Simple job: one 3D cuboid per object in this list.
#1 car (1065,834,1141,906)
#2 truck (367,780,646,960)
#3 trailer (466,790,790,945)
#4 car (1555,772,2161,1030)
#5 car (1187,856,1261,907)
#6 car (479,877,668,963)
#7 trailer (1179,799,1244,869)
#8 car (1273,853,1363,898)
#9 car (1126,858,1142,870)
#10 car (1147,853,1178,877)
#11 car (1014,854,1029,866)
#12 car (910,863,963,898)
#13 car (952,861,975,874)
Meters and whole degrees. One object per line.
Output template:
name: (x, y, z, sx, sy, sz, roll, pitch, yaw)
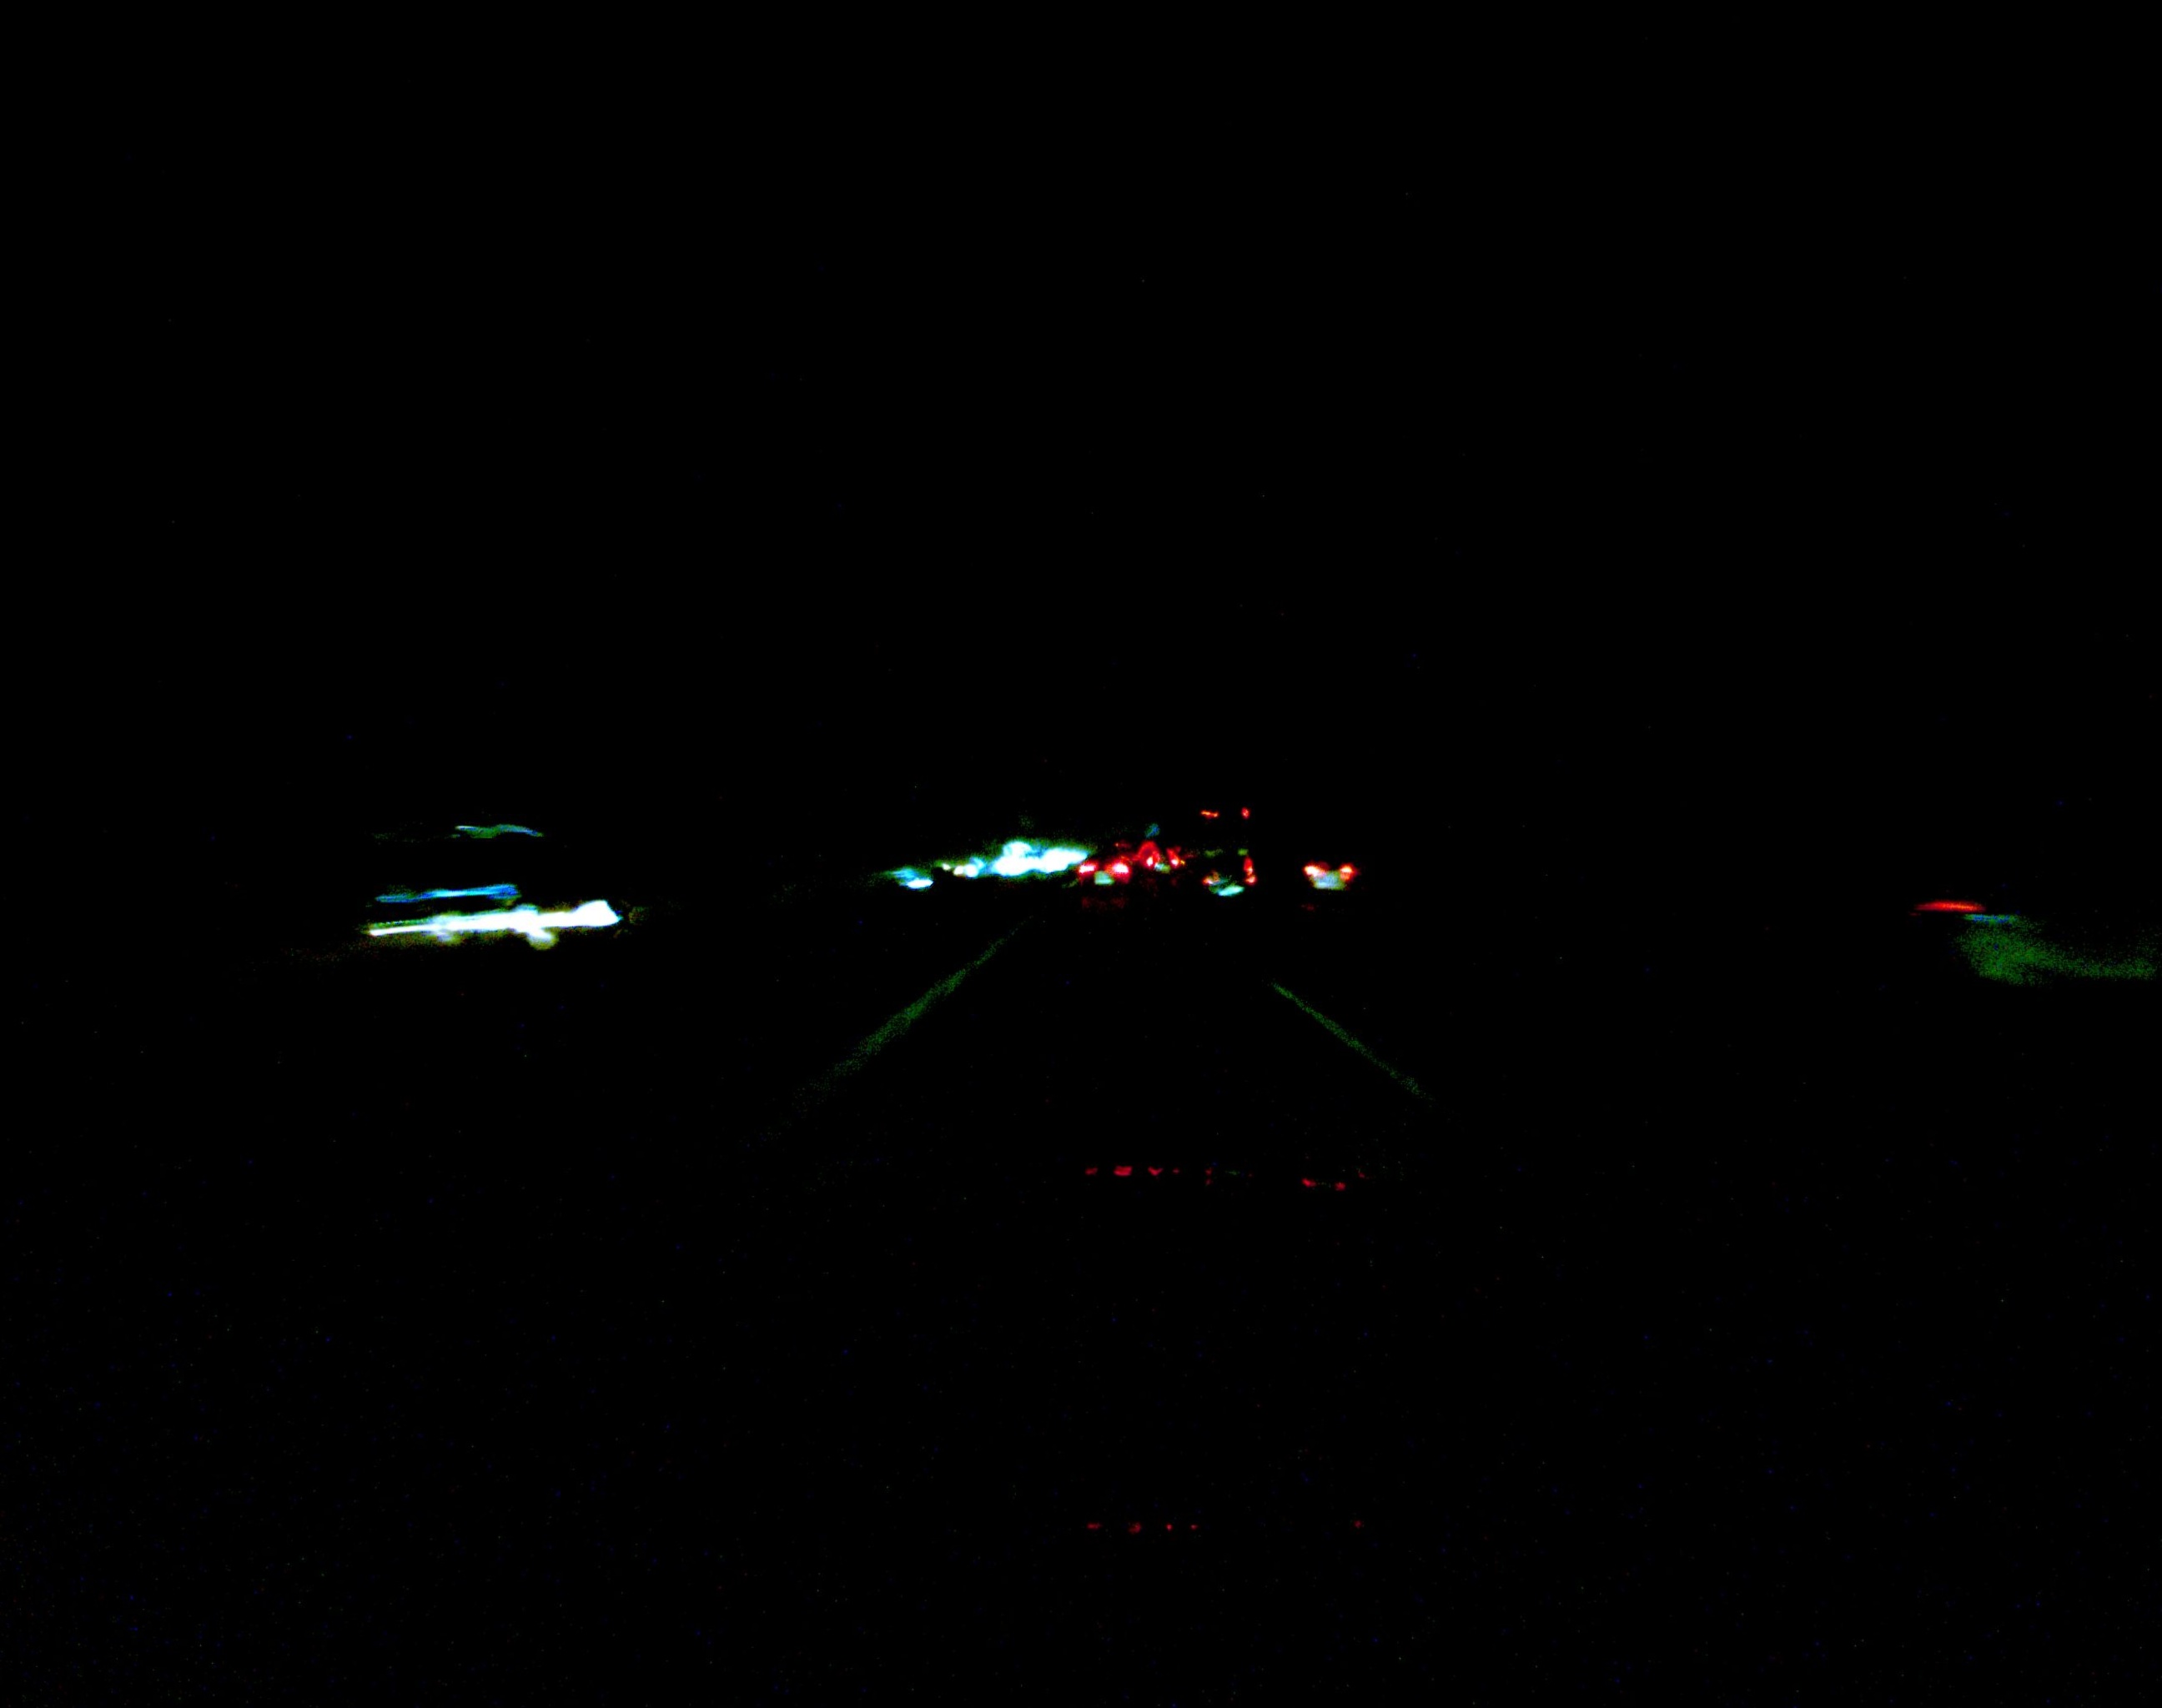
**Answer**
car: (0.832, 0.584, 33.408, 2.701, 2.534, 5.830, -3, 0, 0)
truck: (-15.696, 0.335, 23.071, 2.875, 4.334, 6.749, -1, 1, 2)
trailer: (-15.495, 0.246, 30.651, 2.875, 4.304, 15.725, -1, 1, 2)
car: (7.846, 0.347, 9.061, 2.039, 1.974, 5.407, -1, 0, 1)
car: (4.302, 0.787, 24.994, 1.607, 1.412, 3.792, -1, 0, 1)
car: (-11.919, 1.463, 19.528, 1.672, 1.597, 4.349, -3, 0, 1)
trailer: (8.658, -1.235, 55.599, 2.793, 4.212, 12.101, -1, 0, 2)
car: (8.552, 0.712, 29.849, 1.887, 1.486, 4.962, 0, 0, 1)
car: (7.617, 1.417, 117.061, 2.128, 1.618, 4.003, 0, 0, 3)
car: (5.647, 0.751, 56.846, 1.877, 1.588, 4.001, -1, 0, 2)
car: (-8.690, 0.839, 119.768, 1.643, 1.582, 5.130, -1, 0, 2)
car: (-6.949, 1.226, 39.555, 1.672, 1.447, 4.287, -3, 0, 1)
car: (-13.739, 1.528, 95.663, 1.955, 1.345, 4.289, -1, 0, 1)
